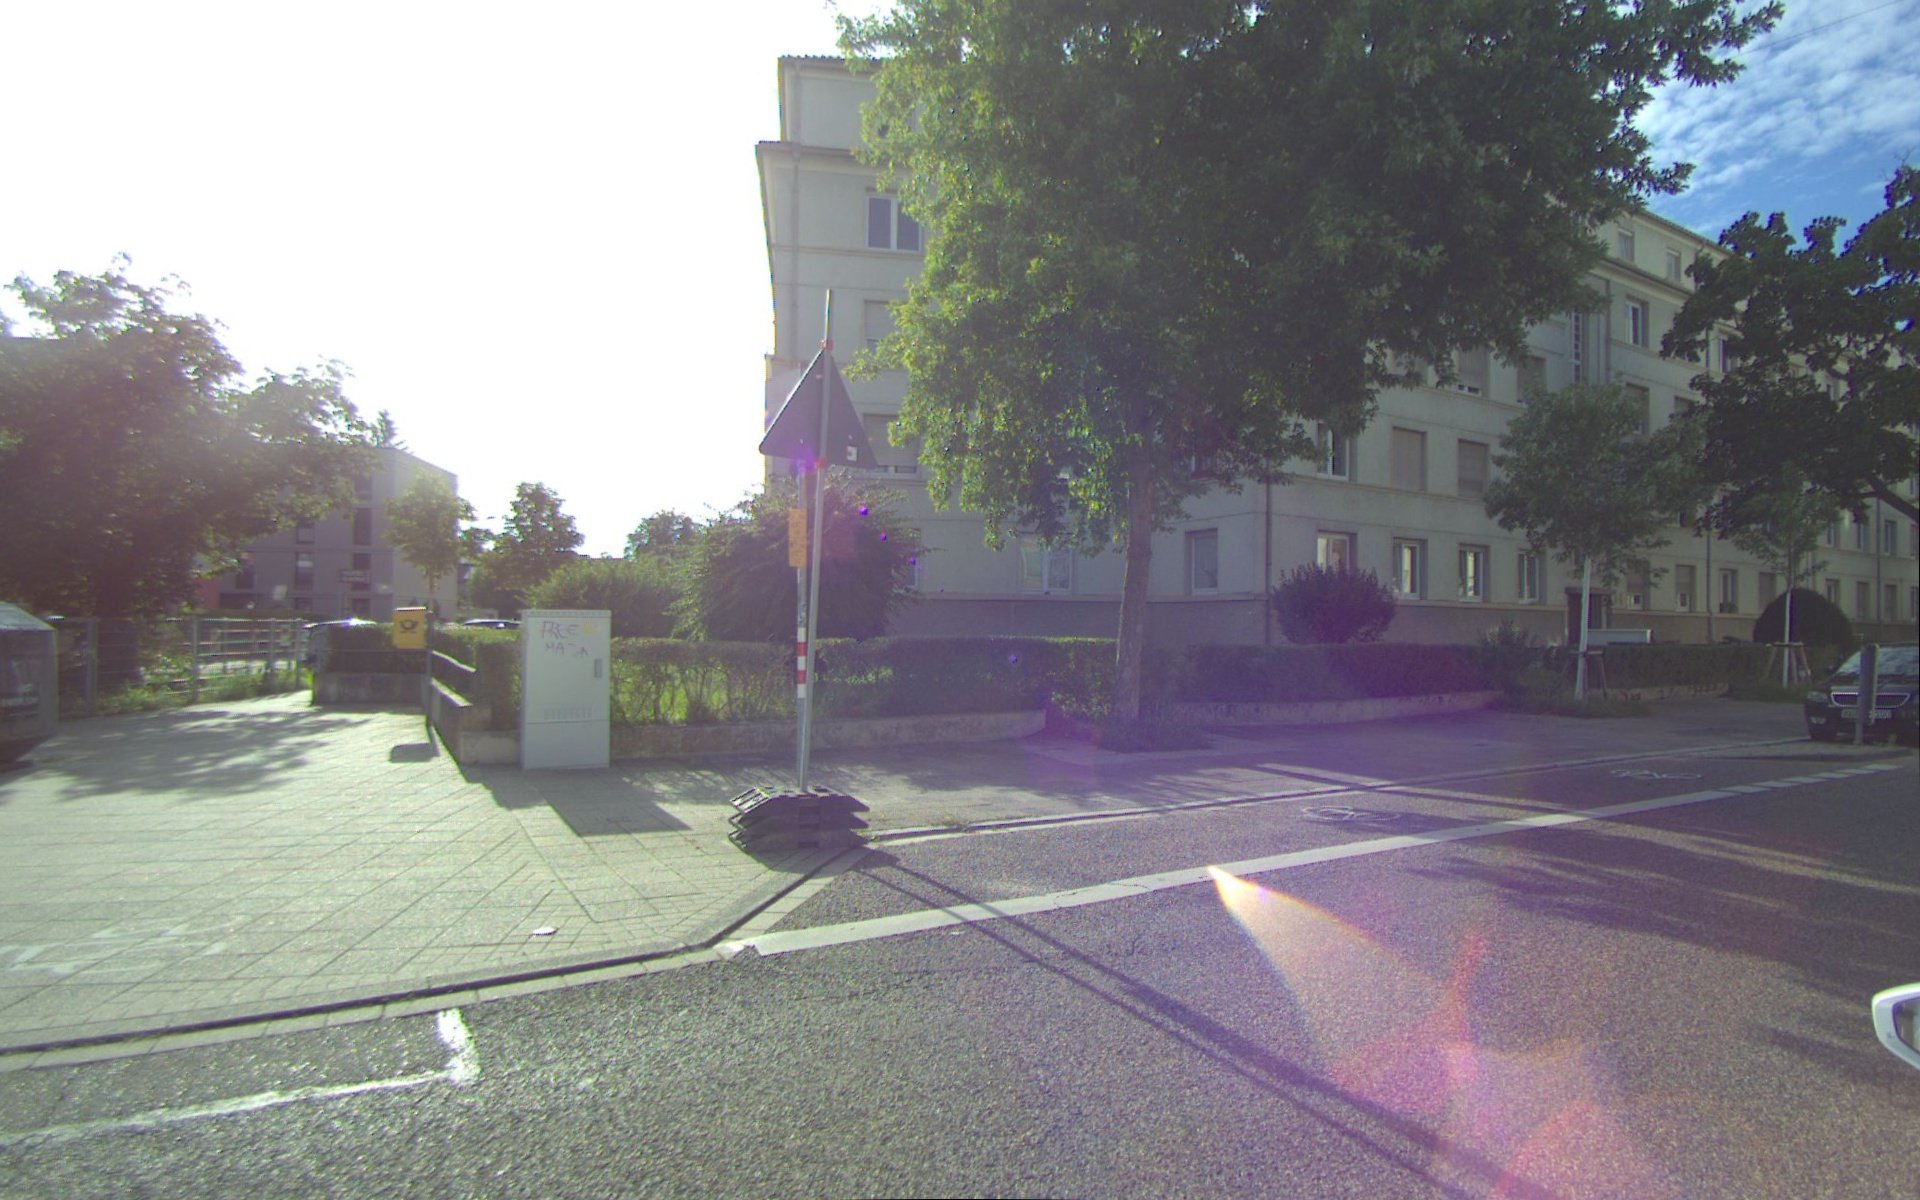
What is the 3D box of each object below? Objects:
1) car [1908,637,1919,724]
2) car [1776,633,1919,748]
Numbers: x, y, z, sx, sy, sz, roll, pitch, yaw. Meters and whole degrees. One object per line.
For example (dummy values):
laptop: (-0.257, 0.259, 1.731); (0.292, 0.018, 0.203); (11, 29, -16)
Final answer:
car: (18.743, 1.398, 17.730); (4.319, 1.505, 1.811); (2, -4, -31)
car: (14.185, 1.280, 14.941); (4.374, 1.505, 1.916); (2, -4, -33)
